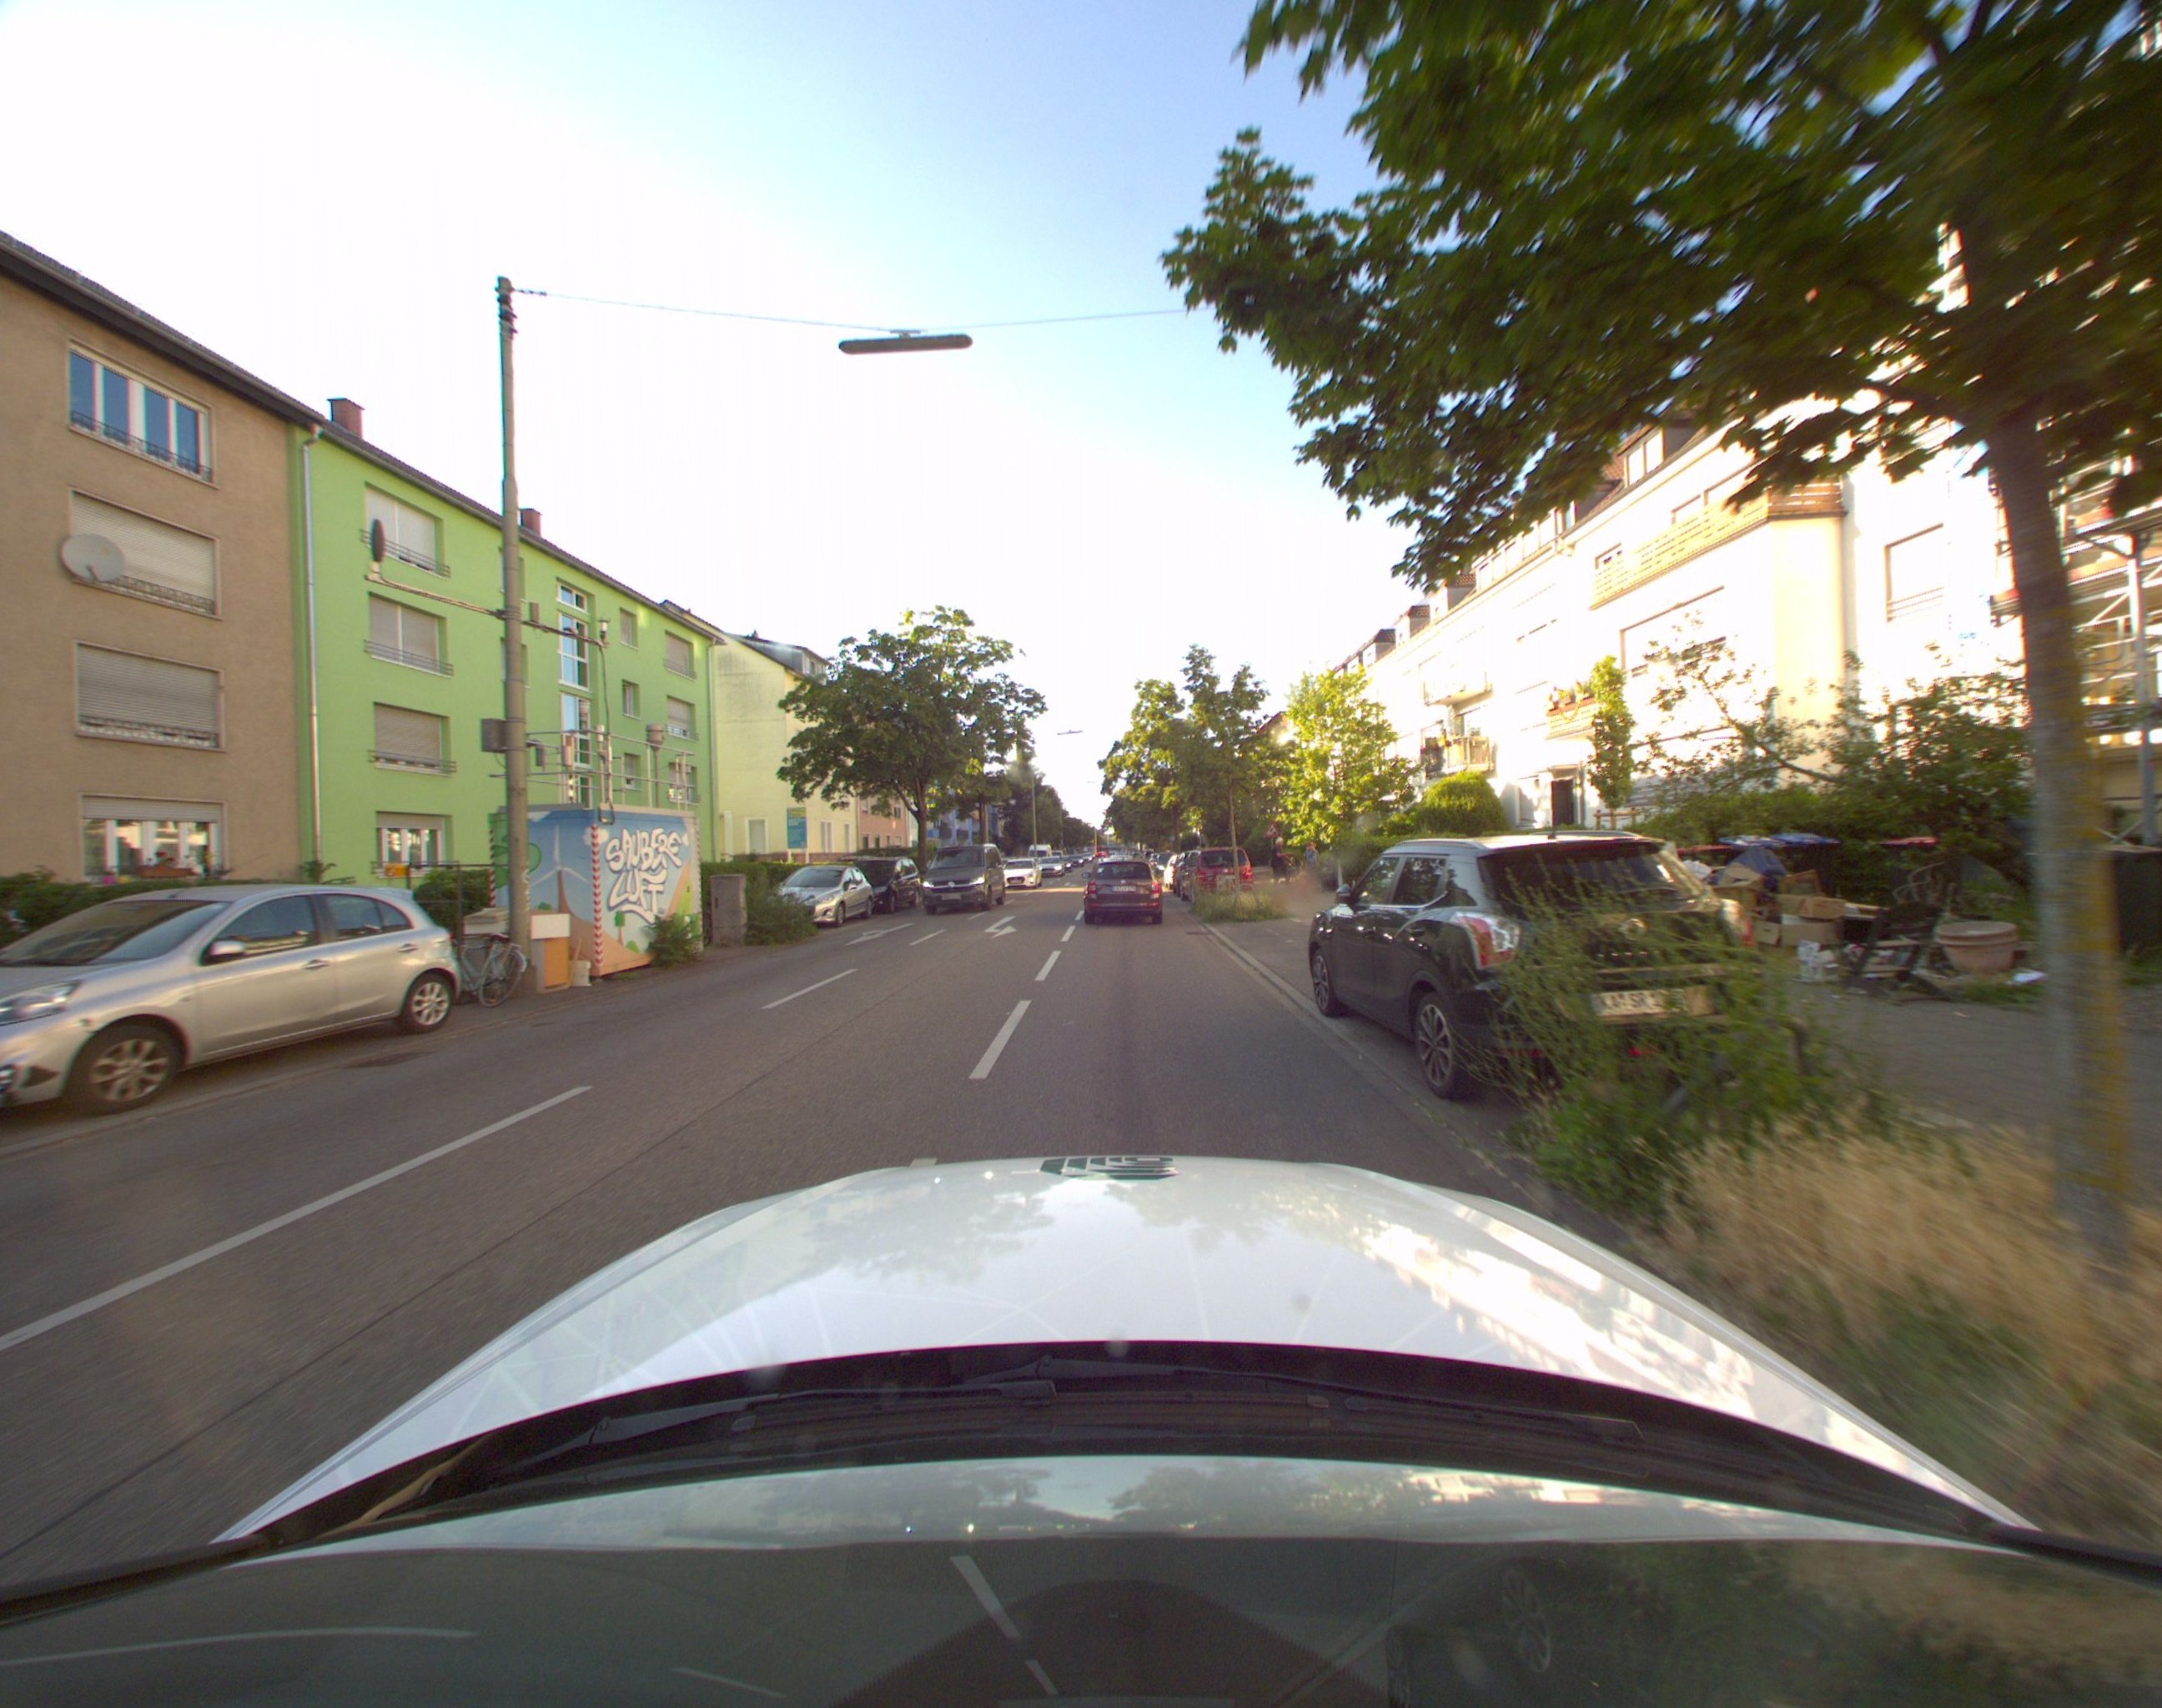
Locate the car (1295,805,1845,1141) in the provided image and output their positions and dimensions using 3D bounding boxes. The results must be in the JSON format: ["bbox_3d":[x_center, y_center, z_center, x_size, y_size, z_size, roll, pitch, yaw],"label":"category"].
[{"bbox_3d":[3.029,0.610,6.190,1.785,1.632,4.031,-3,0,2],"label":"car"}]

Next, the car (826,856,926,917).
[{"bbox_3d":[-6.470,0.962,26.277,1.776,1.733,4.621,-2,0,3],"label":"car"}]

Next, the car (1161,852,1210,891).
[{"bbox_3d":[4.438,0.708,34.971,1.630,1.490,4.418,-3,0,2],"label":"car"}]

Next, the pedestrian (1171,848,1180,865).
[{"bbox_3d":[10.736,0.272,92.409,0.793,1.861,0.954,-2,0,13],"label":"pedestrian"}]

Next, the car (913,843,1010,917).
[{"bbox_3d":[-3.537,0.729,25.130,1.986,1.946,4.780,-4,0,2],"label":"car"}]

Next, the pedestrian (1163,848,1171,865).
[{"bbox_3d":[9.821,0.278,92.781,0.746,1.861,1.068,-2,0,1],"label":"pedestrian"}]

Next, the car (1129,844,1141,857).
[{"bbox_3d":[8.692,-0.543,130.630,1.908,1.860,5.639,-2,0,4],"label":"car"}]

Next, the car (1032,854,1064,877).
[{"bbox_3d":[-2.295,0.793,57.906,1.825,1.470,4.454,-4,0,2],"label":"car"}]

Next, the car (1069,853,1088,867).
[{"bbox_3d":[-0.238,0.615,92.317,1.692,1.470,4.300,-3,0,5],"label":"car"}]

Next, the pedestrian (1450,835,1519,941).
[{"bbox_3d":[6.177,0.503,12.493,0.557,1.568,0.744,-2,0,-16],"label":"pedestrian"}]

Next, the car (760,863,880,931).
[{"bbox_3d":[-6.662,1.028,21.270,1.676,1.521,4.192,-2,0,1],"label":"car"}]

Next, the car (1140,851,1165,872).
[{"bbox_3d":[5.677,0.574,64.825,1.711,1.601,4.098,-2,0,2],"label":"car"}]

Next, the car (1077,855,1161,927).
[{"bbox_3d":[0.942,0.779,19.007,1.746,1.492,4.005,0,0,4],"label":"car"}]

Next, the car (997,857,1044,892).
[{"bbox_3d":[-2.888,0.957,39.692,1.809,1.446,4.111,-4,0,1],"label":"car"}]

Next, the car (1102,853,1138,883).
[{"bbox_3d":[2.124,0.761,45.056,1.885,1.506,3.791,2,-1,2],"label":"car"}]

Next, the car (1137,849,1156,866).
[{"bbox_3d":[7.333,0.407,91.309,1.794,1.808,4.424,0,0,0],"label":"car"}]

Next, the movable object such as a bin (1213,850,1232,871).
[{"bbox_3d":[10.576,0.461,60.778,1.258,1.492,1.143,-4,0,12],"label":"movable object such as a bin"}]

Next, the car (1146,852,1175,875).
[{"bbox_3d":[5.573,0.659,57.441,1.712,1.494,4.395,-2,0,1],"label":"car"}]

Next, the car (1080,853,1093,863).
[{"bbox_3d":[0.799,0.630,126.101,1.874,1.543,4.265,-2,0,-1],"label":"car"}]

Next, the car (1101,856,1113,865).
[{"bbox_3d":[4.223,1.036,130.519,1.775,1.480,3.969,0,0,-1],"label":"car"}]

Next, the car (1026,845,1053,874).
[{"bbox_3d":[-3.895,0.497,78.237,1.986,2.616,7.108,0,0,2],"label":"car"}]

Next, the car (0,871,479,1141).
[{"bbox_3d":[-7.309,0.982,6.821,1.631,1.552,3.787,-2,0,1],"label":"car"}]

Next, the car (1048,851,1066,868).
[{"bbox_3d":[-2.989,0.659,101.386,1.861,2.031,5.303,-1,0,2],"label":"car"}]

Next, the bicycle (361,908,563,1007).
[{"bbox_3d":[-7.390,1.222,9.760,1.997,1.089,0.584,0,0,3],"label":"bicycle"}]

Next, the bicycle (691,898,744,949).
[{"bbox_3d":[-7.093,1.343,15.931,0.370,0.861,1.543,0,0,-1],"label":"bicycle"}]

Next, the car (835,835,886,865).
[{"bbox_3d":[-13.158,-0.226,48.833,1.820,1.683,4.002,-1,-1,2],"label":"car"}]

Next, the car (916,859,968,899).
[{"bbox_3d":[-6.017,1.068,35.438,1.492,1.617,2.866,-1,0,5],"label":"car"}]

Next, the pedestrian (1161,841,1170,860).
[{"bbox_3d":[8.031,-0.323,77.066,0.784,1.700,0.809,-1,-1,7],"label":"pedestrian"}]

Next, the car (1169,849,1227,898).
[{"bbox_3d":[4.163,0.662,29.541,1.630,1.568,4.003,-3,0,3],"label":"car"}]

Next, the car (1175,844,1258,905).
[{"bbox_3d":[3.987,0.566,24.731,1.716,1.655,4.596,-1,0,0],"label":"car"}]

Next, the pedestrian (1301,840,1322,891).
[{"bbox_3d":[7.780,0.389,27.473,0.509,1.697,0.527,-1,0,-3],"label":"pedestrian"}]

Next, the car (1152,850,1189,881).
[{"bbox_3d":[5.142,0.628,47.143,1.866,1.581,4.826,-3,0,4],"label":"car"}]

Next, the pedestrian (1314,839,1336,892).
[{"bbox_3d":[7.998,0.375,26.657,0.509,1.697,0.527,-1,0,-3],"label":"pedestrian"}]

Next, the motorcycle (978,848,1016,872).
[{"bbox_3d":[-4.992,0.368,48.627,2.034,1.389,0.981,1,-1,-30],"label":"motorcycle"}]

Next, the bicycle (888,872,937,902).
[{"bbox_3d":[-6.222,1.207,30.155,1.667,1.089,0.561,0,0,4],"label":"bicycle"}]

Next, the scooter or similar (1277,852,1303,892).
[{"bbox_3d":[6.948,0.588,27.124,0.742,1.317,0.723,-2,0,9],"label":"scooter or similar"}]

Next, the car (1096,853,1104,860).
[{"bbox_3d":[5.242,0.763,222.361,1.989,1.750,3.996,-2,0,-3],"label":"car"}]

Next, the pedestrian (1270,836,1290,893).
[{"bbox_3d":[6.617,0.344,27.165,0.545,1.849,0.766,-2,0,9],"label":"pedestrian"}]

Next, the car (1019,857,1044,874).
[{"bbox_3d":[-4.344,0.993,71.941,1.700,1.492,4.061,1,0,2],"label":"car"}]

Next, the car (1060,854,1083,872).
[{"bbox_3d":[-0.787,0.739,69.698,1.693,1.403,4.030,-4,0,2],"label":"car"}]
